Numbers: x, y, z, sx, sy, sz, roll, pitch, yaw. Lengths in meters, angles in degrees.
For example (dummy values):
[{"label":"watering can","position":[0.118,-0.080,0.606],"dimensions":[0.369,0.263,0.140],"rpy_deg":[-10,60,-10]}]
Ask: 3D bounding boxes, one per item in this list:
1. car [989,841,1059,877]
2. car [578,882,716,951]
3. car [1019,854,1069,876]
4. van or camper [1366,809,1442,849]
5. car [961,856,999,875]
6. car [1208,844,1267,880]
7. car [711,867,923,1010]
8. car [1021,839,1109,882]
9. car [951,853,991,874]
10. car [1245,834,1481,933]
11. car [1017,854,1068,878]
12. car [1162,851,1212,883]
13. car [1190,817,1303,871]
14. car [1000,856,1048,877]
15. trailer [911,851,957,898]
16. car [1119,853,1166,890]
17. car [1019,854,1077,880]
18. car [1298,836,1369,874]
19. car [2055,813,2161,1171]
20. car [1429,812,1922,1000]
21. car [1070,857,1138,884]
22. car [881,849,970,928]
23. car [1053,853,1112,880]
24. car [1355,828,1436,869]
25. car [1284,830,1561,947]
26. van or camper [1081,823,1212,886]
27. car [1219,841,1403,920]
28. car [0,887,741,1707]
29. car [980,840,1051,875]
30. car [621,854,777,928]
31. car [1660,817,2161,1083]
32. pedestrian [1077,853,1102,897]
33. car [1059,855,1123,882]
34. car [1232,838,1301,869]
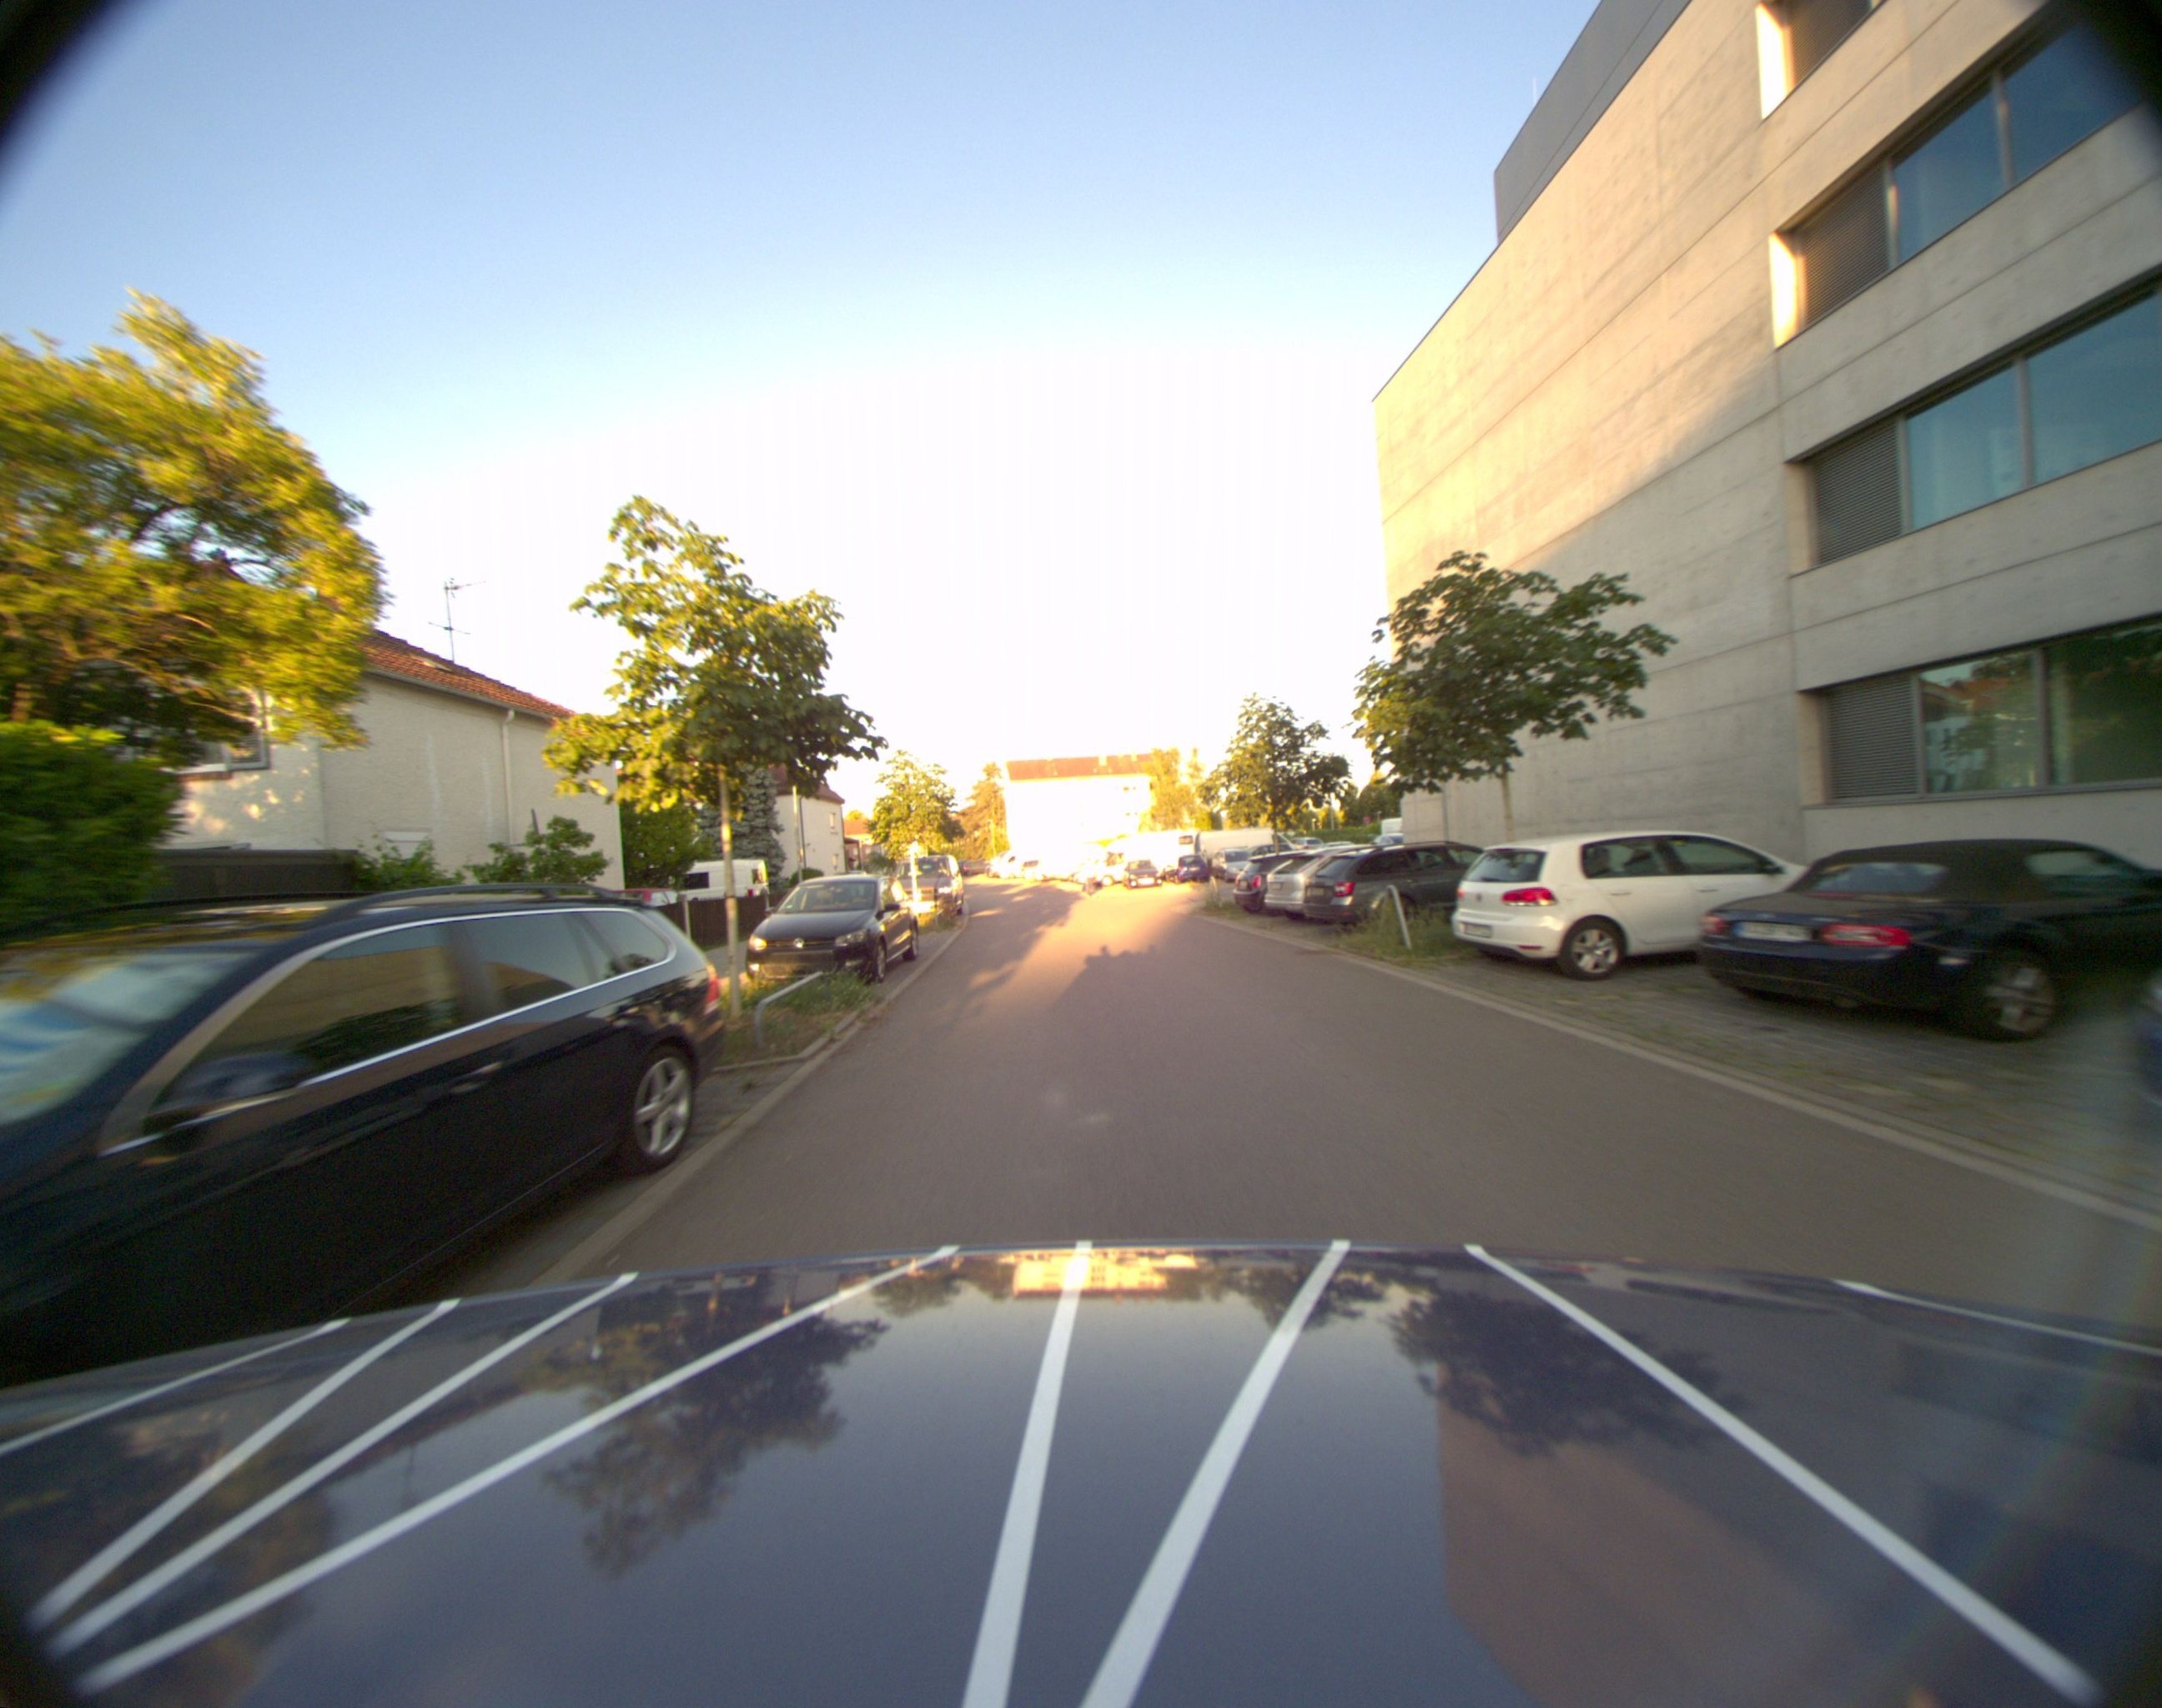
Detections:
[{"label":"car","position":[-5.302,0.446,70.549],"dimensions":[5.848,2.697,2.047],"rpy_deg":[-6,1,-20]},{"label":"car","position":[-11.222,1.563,19.949],"dimensions":[1.532,1.436,3.639],"rpy_deg":[-3,0,-1]},{"label":"car","position":[-3.189,0.931,65.830],"dimensions":[3.940,1.582,1.745],"rpy_deg":[-5,2,-18]},{"label":"van or camper","position":[24.799,-1.880,58.680],"dimensions":[2.021,2.675,6.634],"rpy_deg":[-6,1,-9]},{"label":"car","position":[-11.294,1.277,84.958],"dimensions":[3.939,1.643,1.746],"rpy_deg":[-6,1,-16]},{"label":"car","position":[7.656,0.335,37.438],"dimensions":[1.667,1.472,4.201],"rpy_deg":[-6,2,-4]},{"label":"car","position":[-3.509,1.033,10.840],"dimensions":[1.745,1.543,3.639],"rpy_deg":[-3,0,-1]},{"label":"car","position":[-1.186,0.453,55.931],"dimensions":[5.908,2.520,2.408],"rpy_deg":[-6,2,-13]},{"label":"car","position":[-12.602,1.105,87.136],"dimensions":[3.943,1.900,1.744],"rpy_deg":[-7,1,-31]},{"label":"car","position":[5.745,0.567,15.738],"dimensions":[4.098,1.520,1.845],"rpy_deg":[-5,0,-8]},{"label":"car","position":[-3.174,0.966,62.392],"dimensions":[3.938,1.581,1.746],"rpy_deg":[-5,1,-10]},{"label":"car","position":[5.320,0.636,38.538],"dimensions":[1.667,1.414,3.720],"rpy_deg":[-4,0,-4]},{"label":"car","position":[10.154,-0.611,46.879],"dimensions":[6.261,2.658,2.221],"rpy_deg":[-5,1,-8]},{"label":"car","position":[-5.096,1.128,67.819],"dimensions":[3.940,1.498,1.787],"rpy_deg":[-5,1,-18]},{"label":"trailer","position":[-7.750,1.047,39.785],"dimensions":[2.071,2.198,5.217],"rpy_deg":[-3,0,-13]},{"label":"car","position":[3.030,0.828,38.240],"dimensions":[1.691,1.510,4.359],"rpy_deg":[-5,1,-2]},{"label":"car","position":[-2.613,1.004,60.191],"dimensions":[4.141,1.582,1.745],"rpy_deg":[-6,2,-17]},{"label":"car","position":[12.498,-0.002,37.933],"dimensions":[1.667,1.472,4.401],"rpy_deg":[-6,4,-5]},{"label":"car","position":[6.478,0.426,2.656],"dimensions":[3.880,1.502,1.760],"rpy_deg":[-5,0,-1]},{"label":"car","position":[6.289,0.513,8.384],"dimensions":[3.997,1.502,1.760],"rpy_deg":[-5,0,-1]},{"label":"car","position":[1.405,1.009,47.620],"dimensions":[3.821,1.321,1.691],"rpy_deg":[-6,1,-15]},{"label":"car","position":[-4.694,0.984,23.707],"dimensions":[2.071,2.082,4.870],"rpy_deg":[-3,0,-5]},{"label":"car","position":[0.101,0.884,52.826],"dimensions":[3.642,1.510,1.703],"rpy_deg":[-6,1,-17]},{"label":"car","position":[15.071,-0.319,36.724],"dimensions":[1.667,1.613,4.401],"rpy_deg":[-6,4,-5]},{"label":"car","position":[5.772,0.561,13.056],"dimensions":[4.010,1.503,1.584],"rpy_deg":[-5,-1,-8]},{"label":"van or camper","position":[3.639,0.016,42.827],"dimensions":[6.762,2.881,2.406],"rpy_deg":[-5,1,-10]},{"label":"car","position":[5.485,0.615,18.345],"dimensions":[3.746,1.473,1.769],"rpy_deg":[-5,0,-8]},{"label":"car","position":[-3.019,1.021,2.414],"dimensions":[1.715,1.541,4.548],"rpy_deg":[-3,0,0]},{"label":"car","position":[-6.419,0.326,74.816],"dimensions":[6.414,2.698,2.109],"rpy_deg":[-7,3,-25]},{"label":"car","position":[-16.574,1.595,33.208],"dimensions":[5.579,2.676,2.053],"rpy_deg":[-4,-1,-3]},{"label":"car","position":[6.696,0.548,5.598],"dimensions":[3.644,1.354,1.685],"rpy_deg":[-5,0,-6]},{"label":"pedestrian","position":[0.366,0.922,33.537],"dimensions":[0.902,1.839,0.856],"rpy_deg":[-4,0,-5]},{"label":"car","position":[0.644,0.959,50.105],"dimensions":[3.739,1.359,1.703],"rpy_deg":[-6,1,-17]},{"label":"car","position":[10.747,-0.041,44.087],"dimensions":[3.449,1.439,1.513],"rpy_deg":[-5,1,-8]}]
